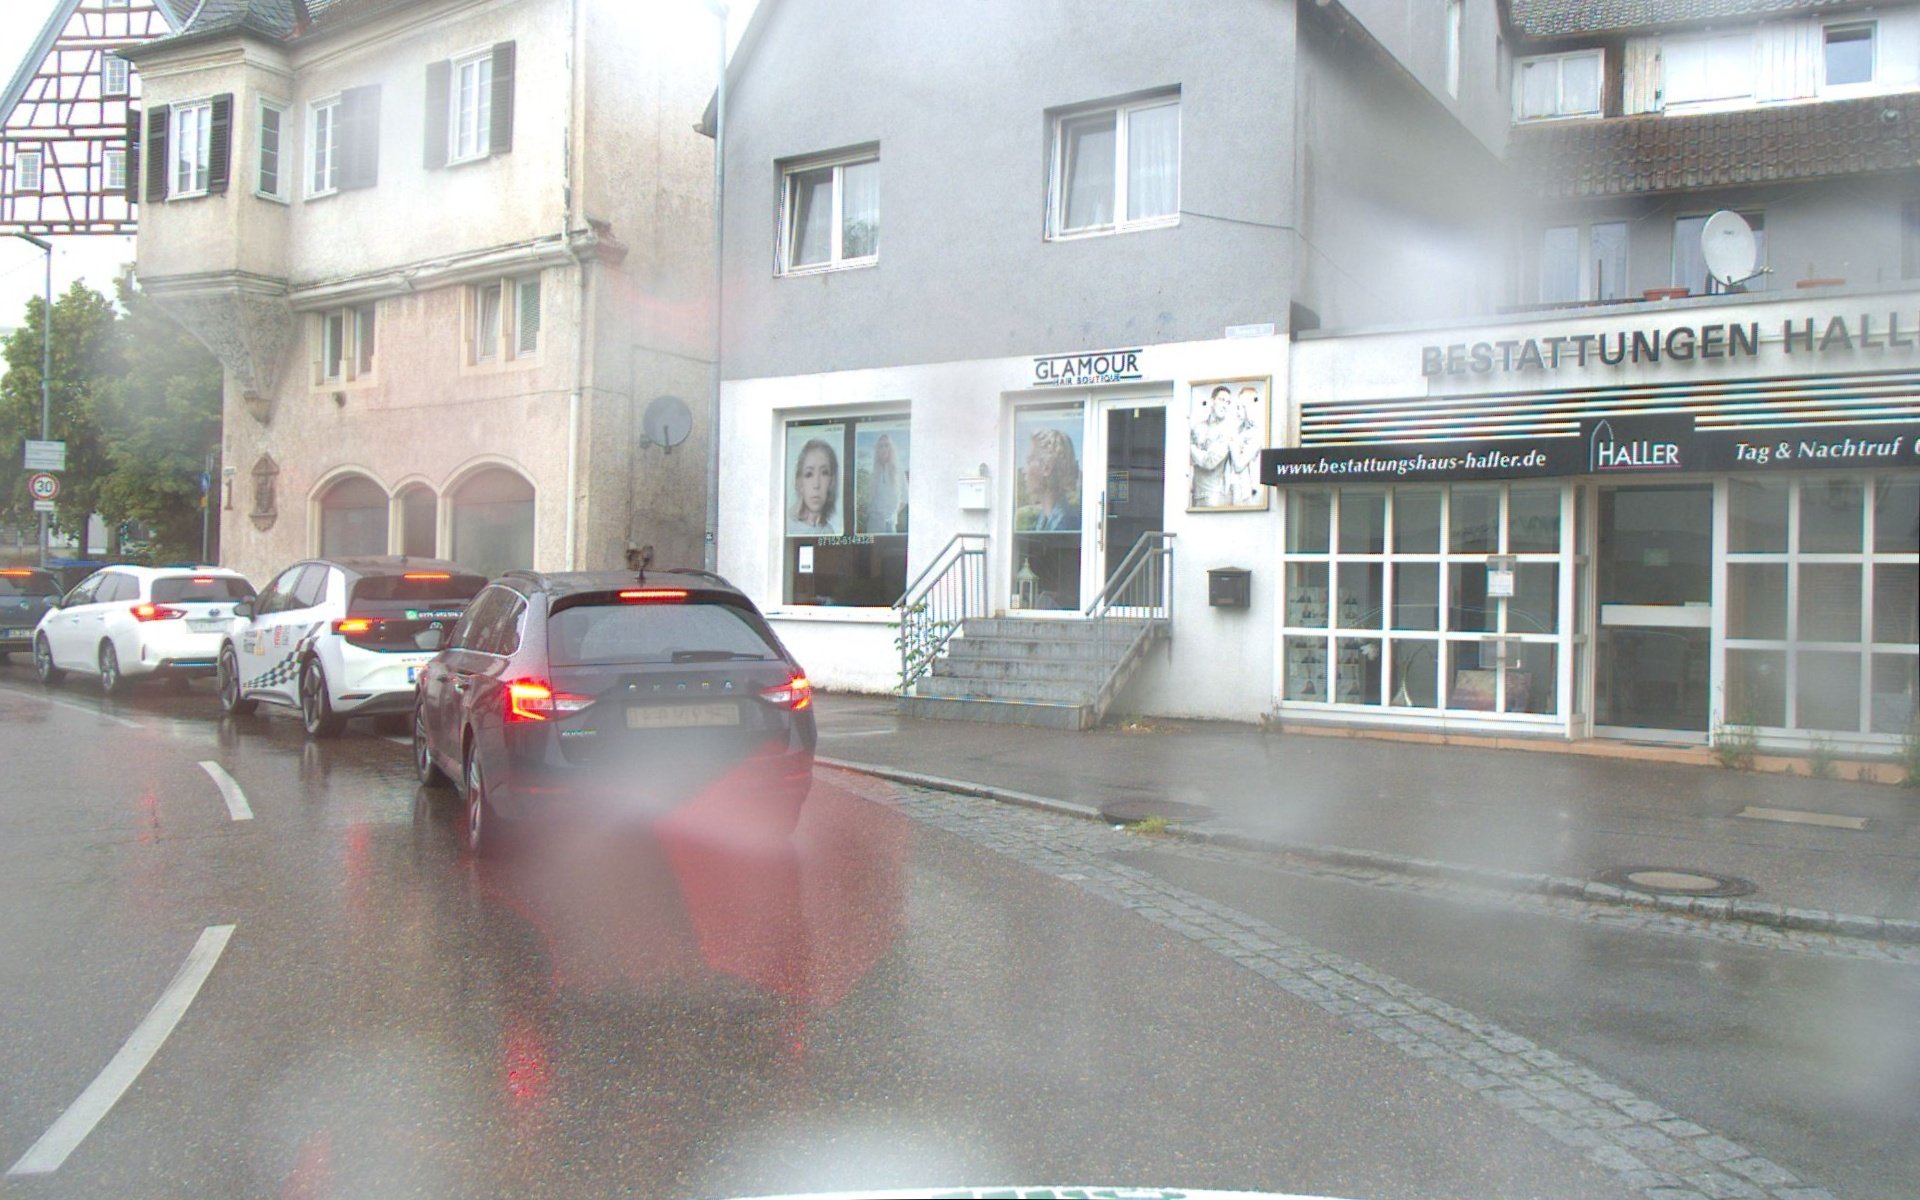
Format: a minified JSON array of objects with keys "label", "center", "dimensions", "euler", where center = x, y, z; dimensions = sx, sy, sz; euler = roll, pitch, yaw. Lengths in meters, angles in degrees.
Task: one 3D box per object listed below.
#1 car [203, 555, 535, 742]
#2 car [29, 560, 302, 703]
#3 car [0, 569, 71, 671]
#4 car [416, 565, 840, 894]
[{"label":"car","center":[-5.766,0.358,15.843],"dimensions":[1.777,1.543,4.183],"euler":[-1,1,-38]},{"label":"car","center":[-9.724,0.292,20.093],"dimensions":[1.778,1.490,4.096],"euler":[-1,3,-45]},{"label":"car","center":[-14.908,0.260,24.942],"dimensions":[3.701,1.385,1.514],"euler":[2,3,42]},{"label":"car","center":[-2.201,0.554,9.946],"dimensions":[1.709,1.475,4.212],"euler":[0,2,-23]}]
